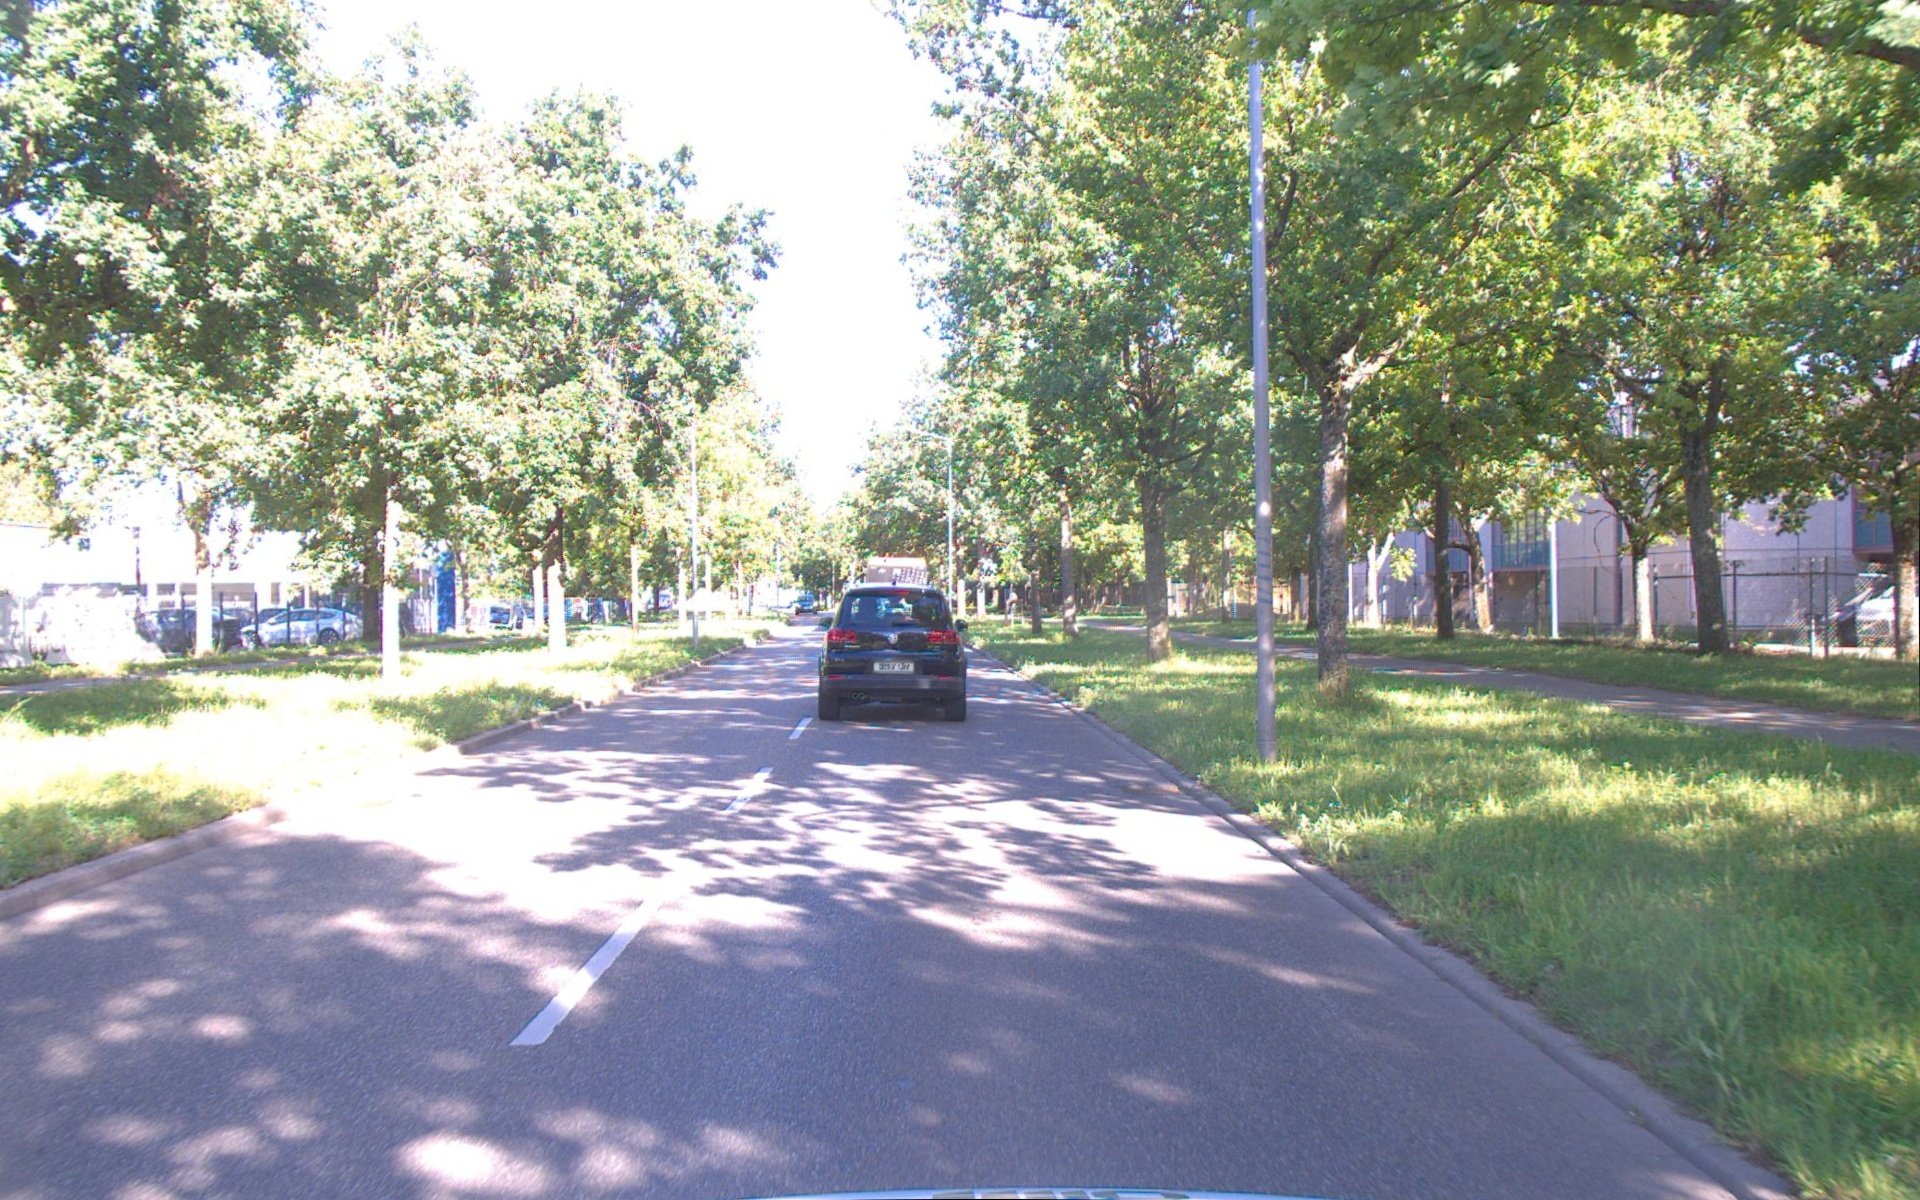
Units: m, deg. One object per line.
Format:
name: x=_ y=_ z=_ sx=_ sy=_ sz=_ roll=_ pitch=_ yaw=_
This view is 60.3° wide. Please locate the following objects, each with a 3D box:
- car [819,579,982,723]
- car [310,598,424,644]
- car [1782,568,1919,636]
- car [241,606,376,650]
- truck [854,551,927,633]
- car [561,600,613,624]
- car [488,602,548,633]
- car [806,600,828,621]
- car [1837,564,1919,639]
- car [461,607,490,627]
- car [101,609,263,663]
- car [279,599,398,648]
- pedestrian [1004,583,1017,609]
car: x=-0.860 y=0.606 z=21.349 sx=1.748 sy=1.662 sz=3.994 roll=1 pitch=0 yaw=-7
car: x=-24.049 y=0.826 z=67.181 sx=3.906 sy=1.772 sz=1.999 roll=1 pitch=0 yaw=-2
car: x=27.105 y=0.039 z=48.742 sx=4.854 sy=1.917 sz=1.996 roll=-1 pitch=0 yaw=-8
car: x=-24.045 y=1.028 z=61.158 sx=4.224 sy=1.545 sz=1.861 roll=1 pitch=0 yaw=-3
truck: x=-3.096 y=-0.337 z=71.867 sx=2.464 sy=3.300 sz=8.139 roll=-1 pitch=0 yaw=-7
car: x=-29.669 y=0.981 z=131.654 sx=3.918 sy=1.833 sz=1.993 roll=1 pitch=0 yaw=-13
car: x=-22.295 y=0.878 z=83.436 sx=2.512 sy=1.495 sz=1.427 roll=-1 pitch=0 yaw=12
car: x=-12.156 y=0.917 z=140.785 sx=1.733 sy=1.701 sz=4.195 roll=-2 pitch=0 yaw=-5
car: x=27.140 y=-0.014 z=45.666 sx=4.968 sy=1.993 sz=1.891 roll=-2 pitch=0 yaw=-8
car: x=-41.337 y=1.423 z=141.158 sx=1.958 sy=1.594 sz=4.871 roll=1 pitch=0 yaw=-12
car: x=-23.810 y=1.098 z=50.719 sx=3.907 sy=1.545 sz=2.197 roll=1 pitch=0 yaw=-3
car: x=-24.101 y=0.906 z=64.271 sx=3.907 sy=1.776 sz=1.861 roll=1 pitch=0 yaw=-3
pedestrian: x=3.211 y=-0.246 z=105.428 sx=0.598 sy=1.659 sz=0.716 roll=-3 pitch=1 yaw=-15
